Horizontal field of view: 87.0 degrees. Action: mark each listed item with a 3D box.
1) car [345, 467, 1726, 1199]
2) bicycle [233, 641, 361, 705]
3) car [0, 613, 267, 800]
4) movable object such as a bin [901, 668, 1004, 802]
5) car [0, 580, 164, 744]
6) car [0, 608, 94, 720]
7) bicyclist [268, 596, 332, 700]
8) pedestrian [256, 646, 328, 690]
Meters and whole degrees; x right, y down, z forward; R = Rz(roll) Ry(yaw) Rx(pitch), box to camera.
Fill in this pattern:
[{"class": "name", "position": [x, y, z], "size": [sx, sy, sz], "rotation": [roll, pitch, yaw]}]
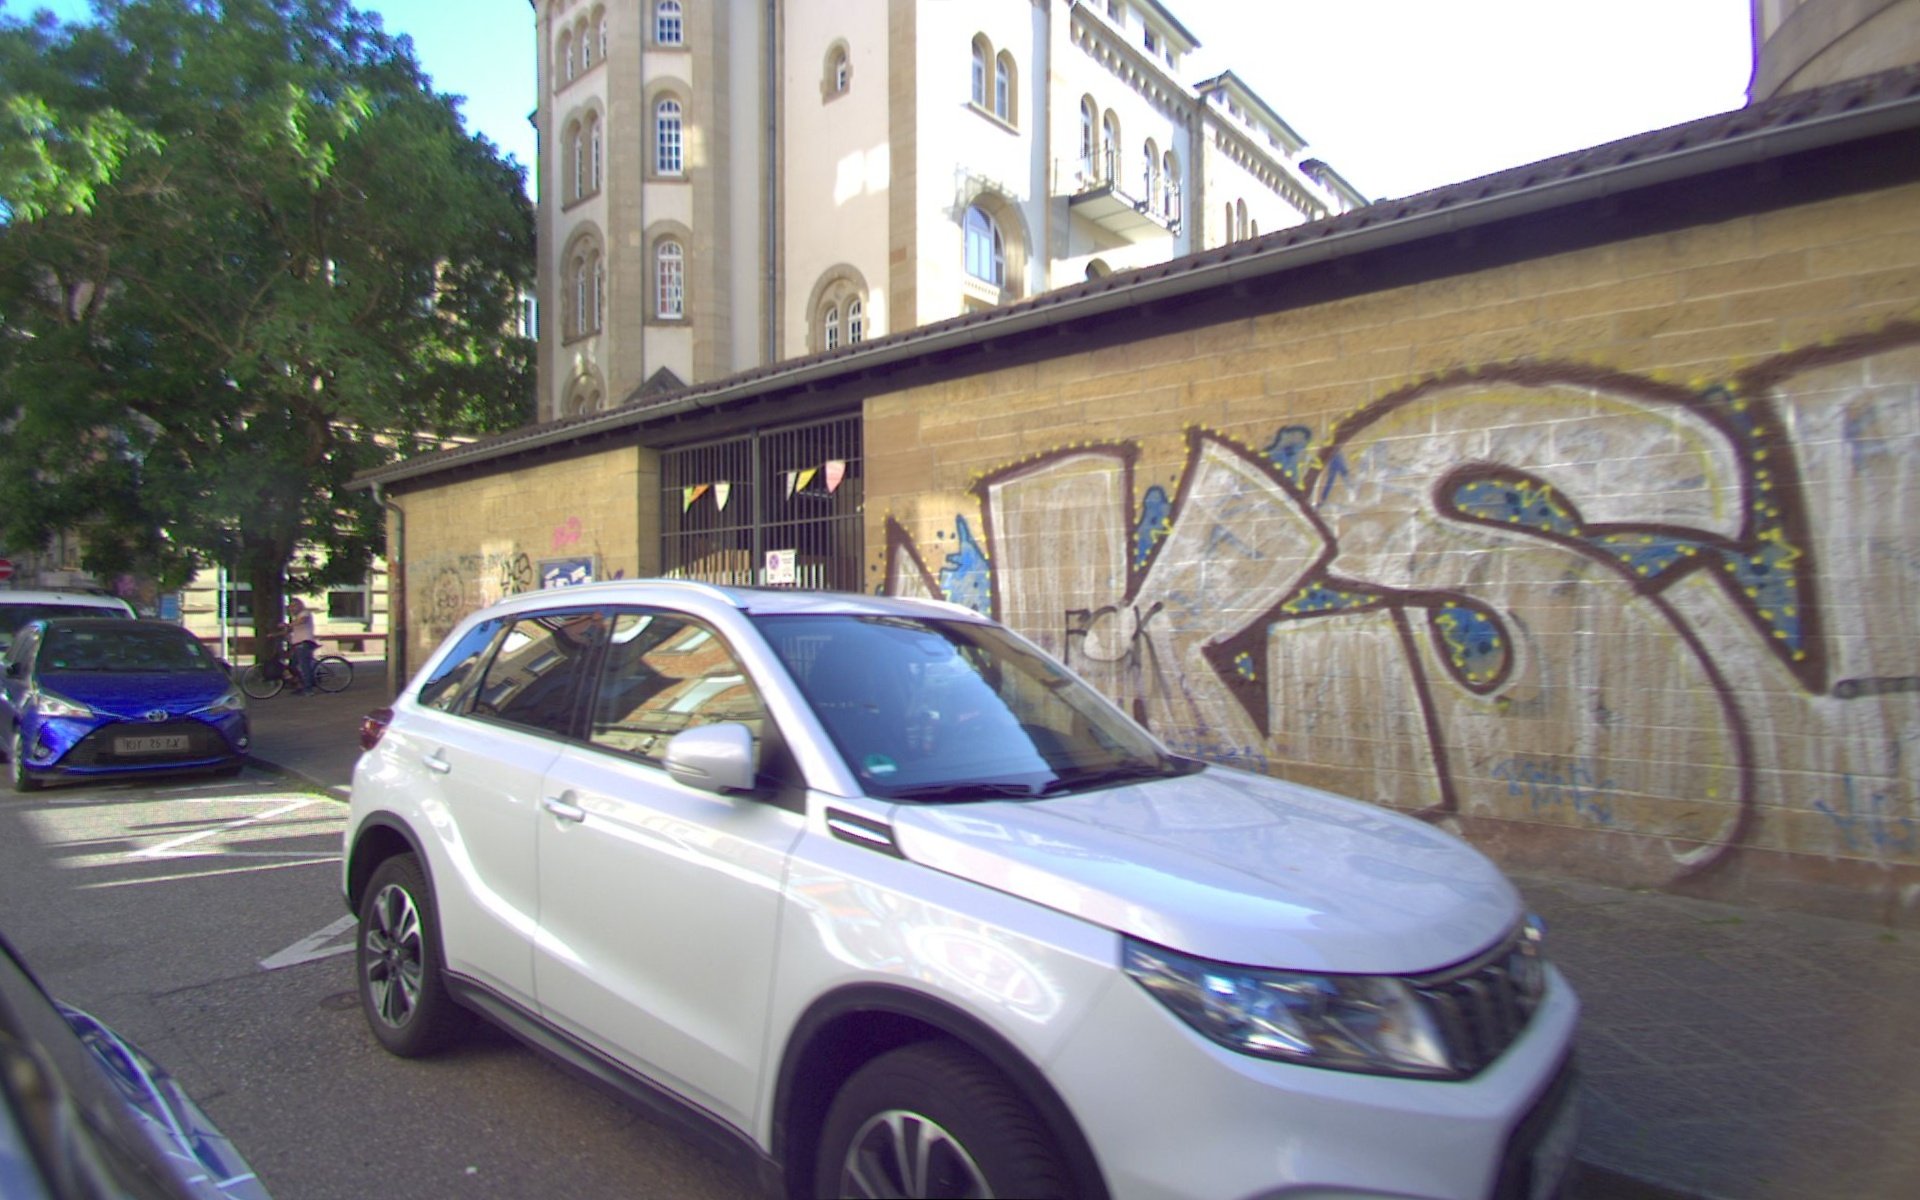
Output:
[{"class": "car", "position": [-0.205, 0.686, 3.028], "size": [3.867, 1.598, 1.724], "rotation": [-1, -1, 41]}, {"class": "bicycle", "position": [-11.487, 1.235, 17.567], "size": [1.740, 0.930, 0.827], "rotation": [-3, 1, -41]}, {"class": "car", "position": [-8.446, 0.924, 9.996], "size": [3.857, 1.488, 1.670], "rotation": [-1, -3, 41]}, {"class": "movable object such as a bin", "position": [-0.055, 0.958, 7.361], "size": [0.570, 0.882, 0.477], "rotation": [-1, -1, 41]}, {"class": "car", "position": [-12.234, 0.765, 13.484], "size": [4.464, 1.876, 1.826], "rotation": [-2, -2, 42]}, {"class": "car", "position": [-15.704, 0.983, 16.444], "size": [4.284, 1.659, 1.723], "rotation": [-1, -2, 39]}, {"class": "bicyclist", "position": [-11.515, 0.819, 17.659], "size": [0.795, 1.736, 0.693], "rotation": [-3, 1, -41]}, {"class": "pedestrian", "position": [-12.626, 1.268, 19.149], "size": [0.697, 0.784, 0.914], "rotation": [-1, -1, 17]}]
